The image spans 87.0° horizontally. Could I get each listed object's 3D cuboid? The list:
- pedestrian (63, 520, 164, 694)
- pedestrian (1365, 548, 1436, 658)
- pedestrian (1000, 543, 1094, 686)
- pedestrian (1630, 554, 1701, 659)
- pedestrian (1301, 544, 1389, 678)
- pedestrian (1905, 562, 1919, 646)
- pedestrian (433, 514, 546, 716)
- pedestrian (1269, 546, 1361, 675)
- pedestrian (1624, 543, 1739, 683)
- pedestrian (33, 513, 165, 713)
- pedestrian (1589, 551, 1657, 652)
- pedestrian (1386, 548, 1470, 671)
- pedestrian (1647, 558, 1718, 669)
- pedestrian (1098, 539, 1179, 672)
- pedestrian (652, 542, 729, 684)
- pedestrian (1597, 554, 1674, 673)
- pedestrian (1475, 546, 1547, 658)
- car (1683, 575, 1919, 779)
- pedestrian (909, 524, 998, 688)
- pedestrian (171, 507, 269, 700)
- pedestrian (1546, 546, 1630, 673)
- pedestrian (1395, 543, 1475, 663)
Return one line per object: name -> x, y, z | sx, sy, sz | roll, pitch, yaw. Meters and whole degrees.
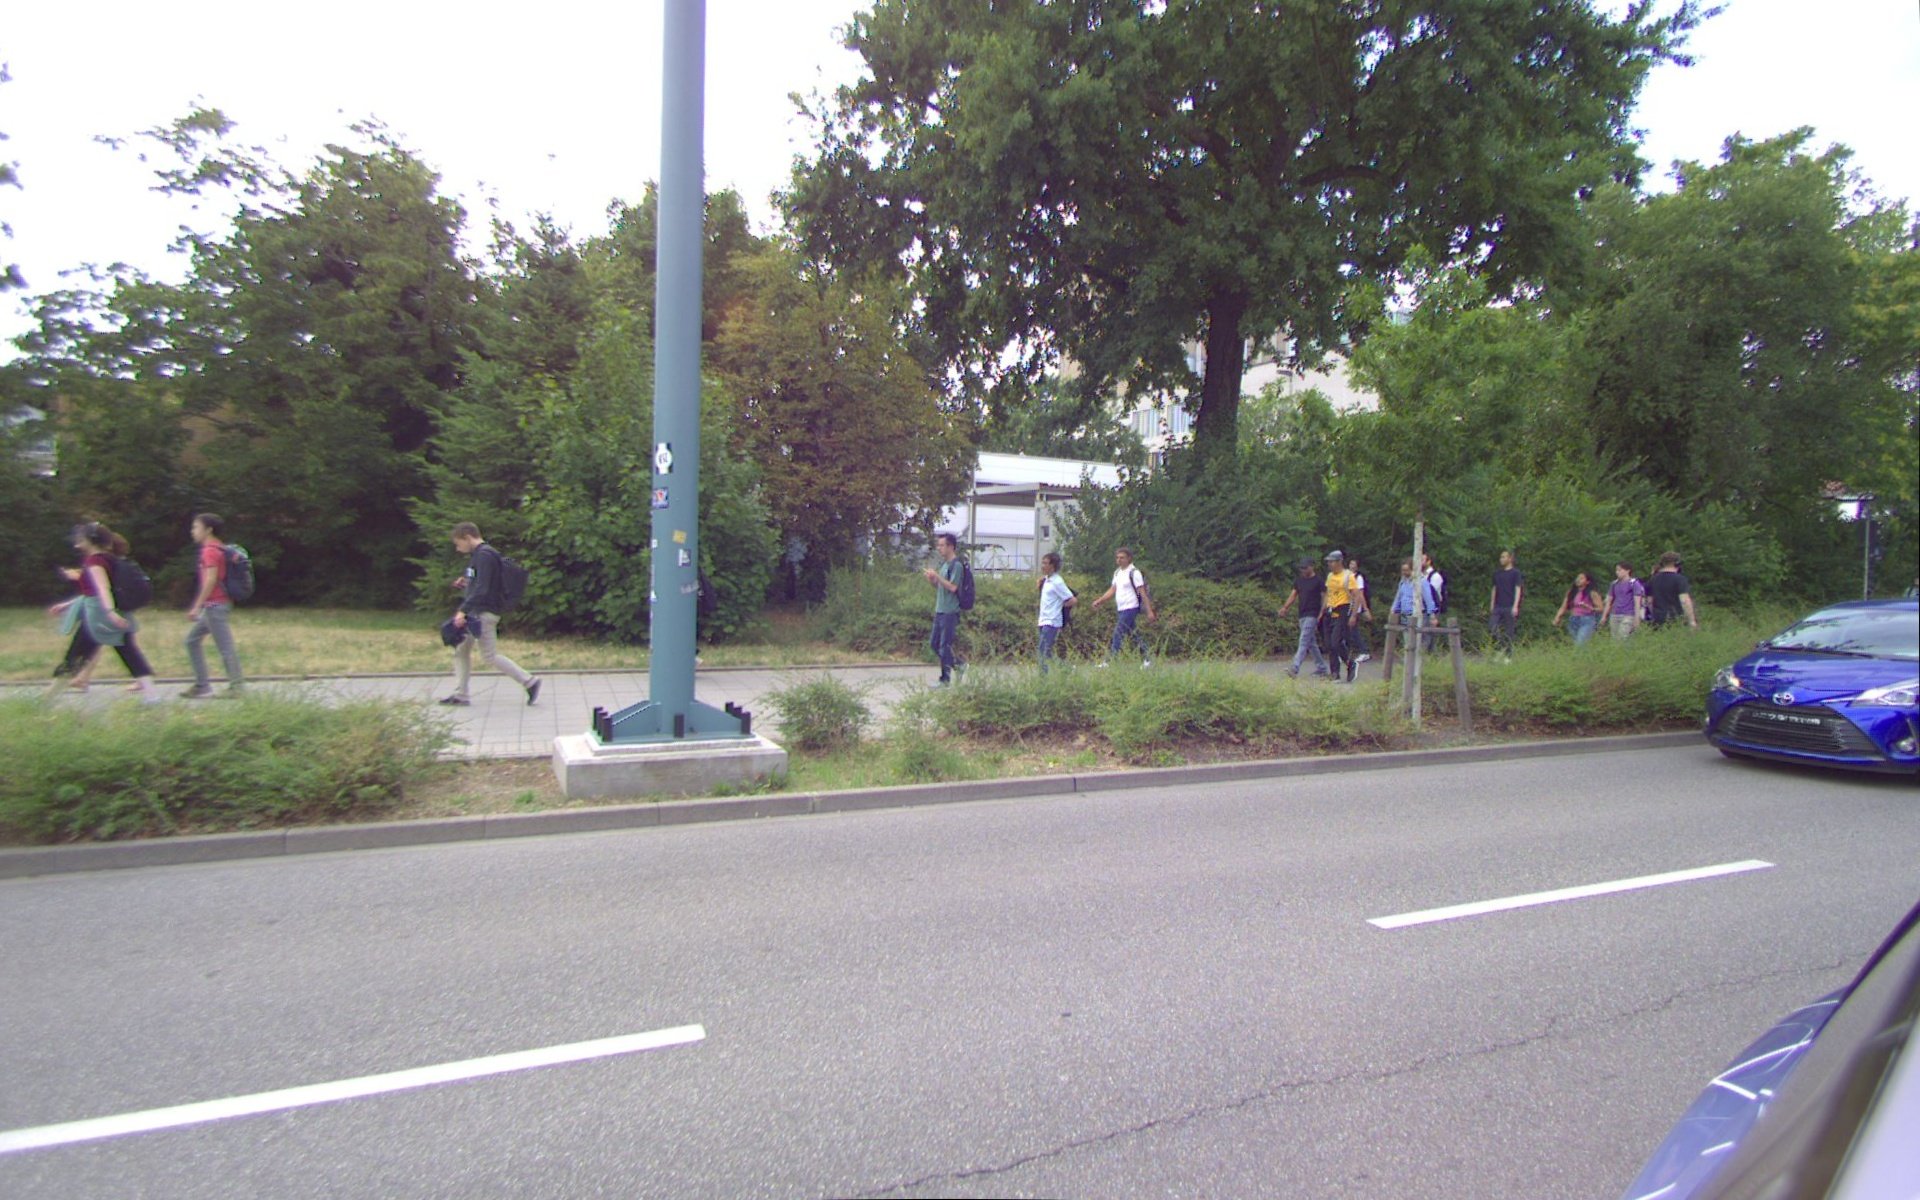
pedestrian -> -8.275, 0.061, 9.908 | 0.639, 1.653, 0.470 | 1, 2, -23
pedestrian -> 7.079, 0.040, 16.270 | 0.764, 1.720, 0.660 | 1, 2, -25
pedestrian -> 1.015, 0.150, 11.960 | 0.795, 1.622, 0.780 | 1, 2, -23
pedestrian -> 12.196, 0.101, 17.497 | 0.764, 1.766, 0.660 | 1, 2, -25
pedestrian -> 5.084, 0.128, 13.384 | 0.824, 1.710, 0.660 | 1, 2, -25
pedestrian -> 21.289, 0.091, 22.131 | 0.725, 1.817, 0.648 | 1, 1, -25
pedestrian -> -4.491, 0.130, 9.718 | 0.934, 1.843, 0.696 | 1, 2, -23
pedestrian -> 4.833, 0.128, 13.798 | 0.951, 1.687, 0.660 | 1, 2, -25
pedestrian -> 9.981, 0.159, 14.043 | 0.871, 1.853, 0.936 | 1, 1, 4
pedestrian -> -7.527, 0.101, 8.873 | 0.738, 1.675, 0.559 | 1, 2, -23
pedestrian -> 11.869, 0.017, 18.119 | 0.764, 1.766, 0.660 | 1, 2, -25
pedestrian -> 6.549, 0.124, 14.169 | 0.795, 1.668, 0.660 | 1, 2, -25
pedestrian -> 11.823, 0.212, 16.563 | 0.773, 1.766, 0.584 | 1, 2, -25
pedestrian -> 2.453, 0.060, 13.942 | 0.795, 1.766, 0.725 | 1, 2, -23
pedestrian -> -3.178, 0.139, 11.906 | 0.769, 1.603, 0.639 | 1, 2, -23
pedestrian -> 10.370, 0.193, 15.550 | 0.764, 1.766, 0.627 | 1, 2, -25
pedestrian -> 8.960, 0.019, 16.468 | 0.764, 1.766, 0.660 | 1, 2, -25
car -> 8.647, 0.581, 9.061 | 3.751, 1.512, 1.708 | 1, 2, -21
pedestrian -> -0.084, 0.059, 11.760 | 0.795, 1.843, 0.659 | 1, 2, -23
pedestrian -> -7.086, 0.031, 9.712 | 0.650, 1.785, 0.487 | 1, 2, -23
pedestrian -> 9.050, 0.121, 14.589 | 0.764, 1.766, 0.660 | 1, 2, -25
pedestrian -> 7.294, 0.046, 15.565 | 0.938, 1.789, 0.660 | 1, -1, -25
